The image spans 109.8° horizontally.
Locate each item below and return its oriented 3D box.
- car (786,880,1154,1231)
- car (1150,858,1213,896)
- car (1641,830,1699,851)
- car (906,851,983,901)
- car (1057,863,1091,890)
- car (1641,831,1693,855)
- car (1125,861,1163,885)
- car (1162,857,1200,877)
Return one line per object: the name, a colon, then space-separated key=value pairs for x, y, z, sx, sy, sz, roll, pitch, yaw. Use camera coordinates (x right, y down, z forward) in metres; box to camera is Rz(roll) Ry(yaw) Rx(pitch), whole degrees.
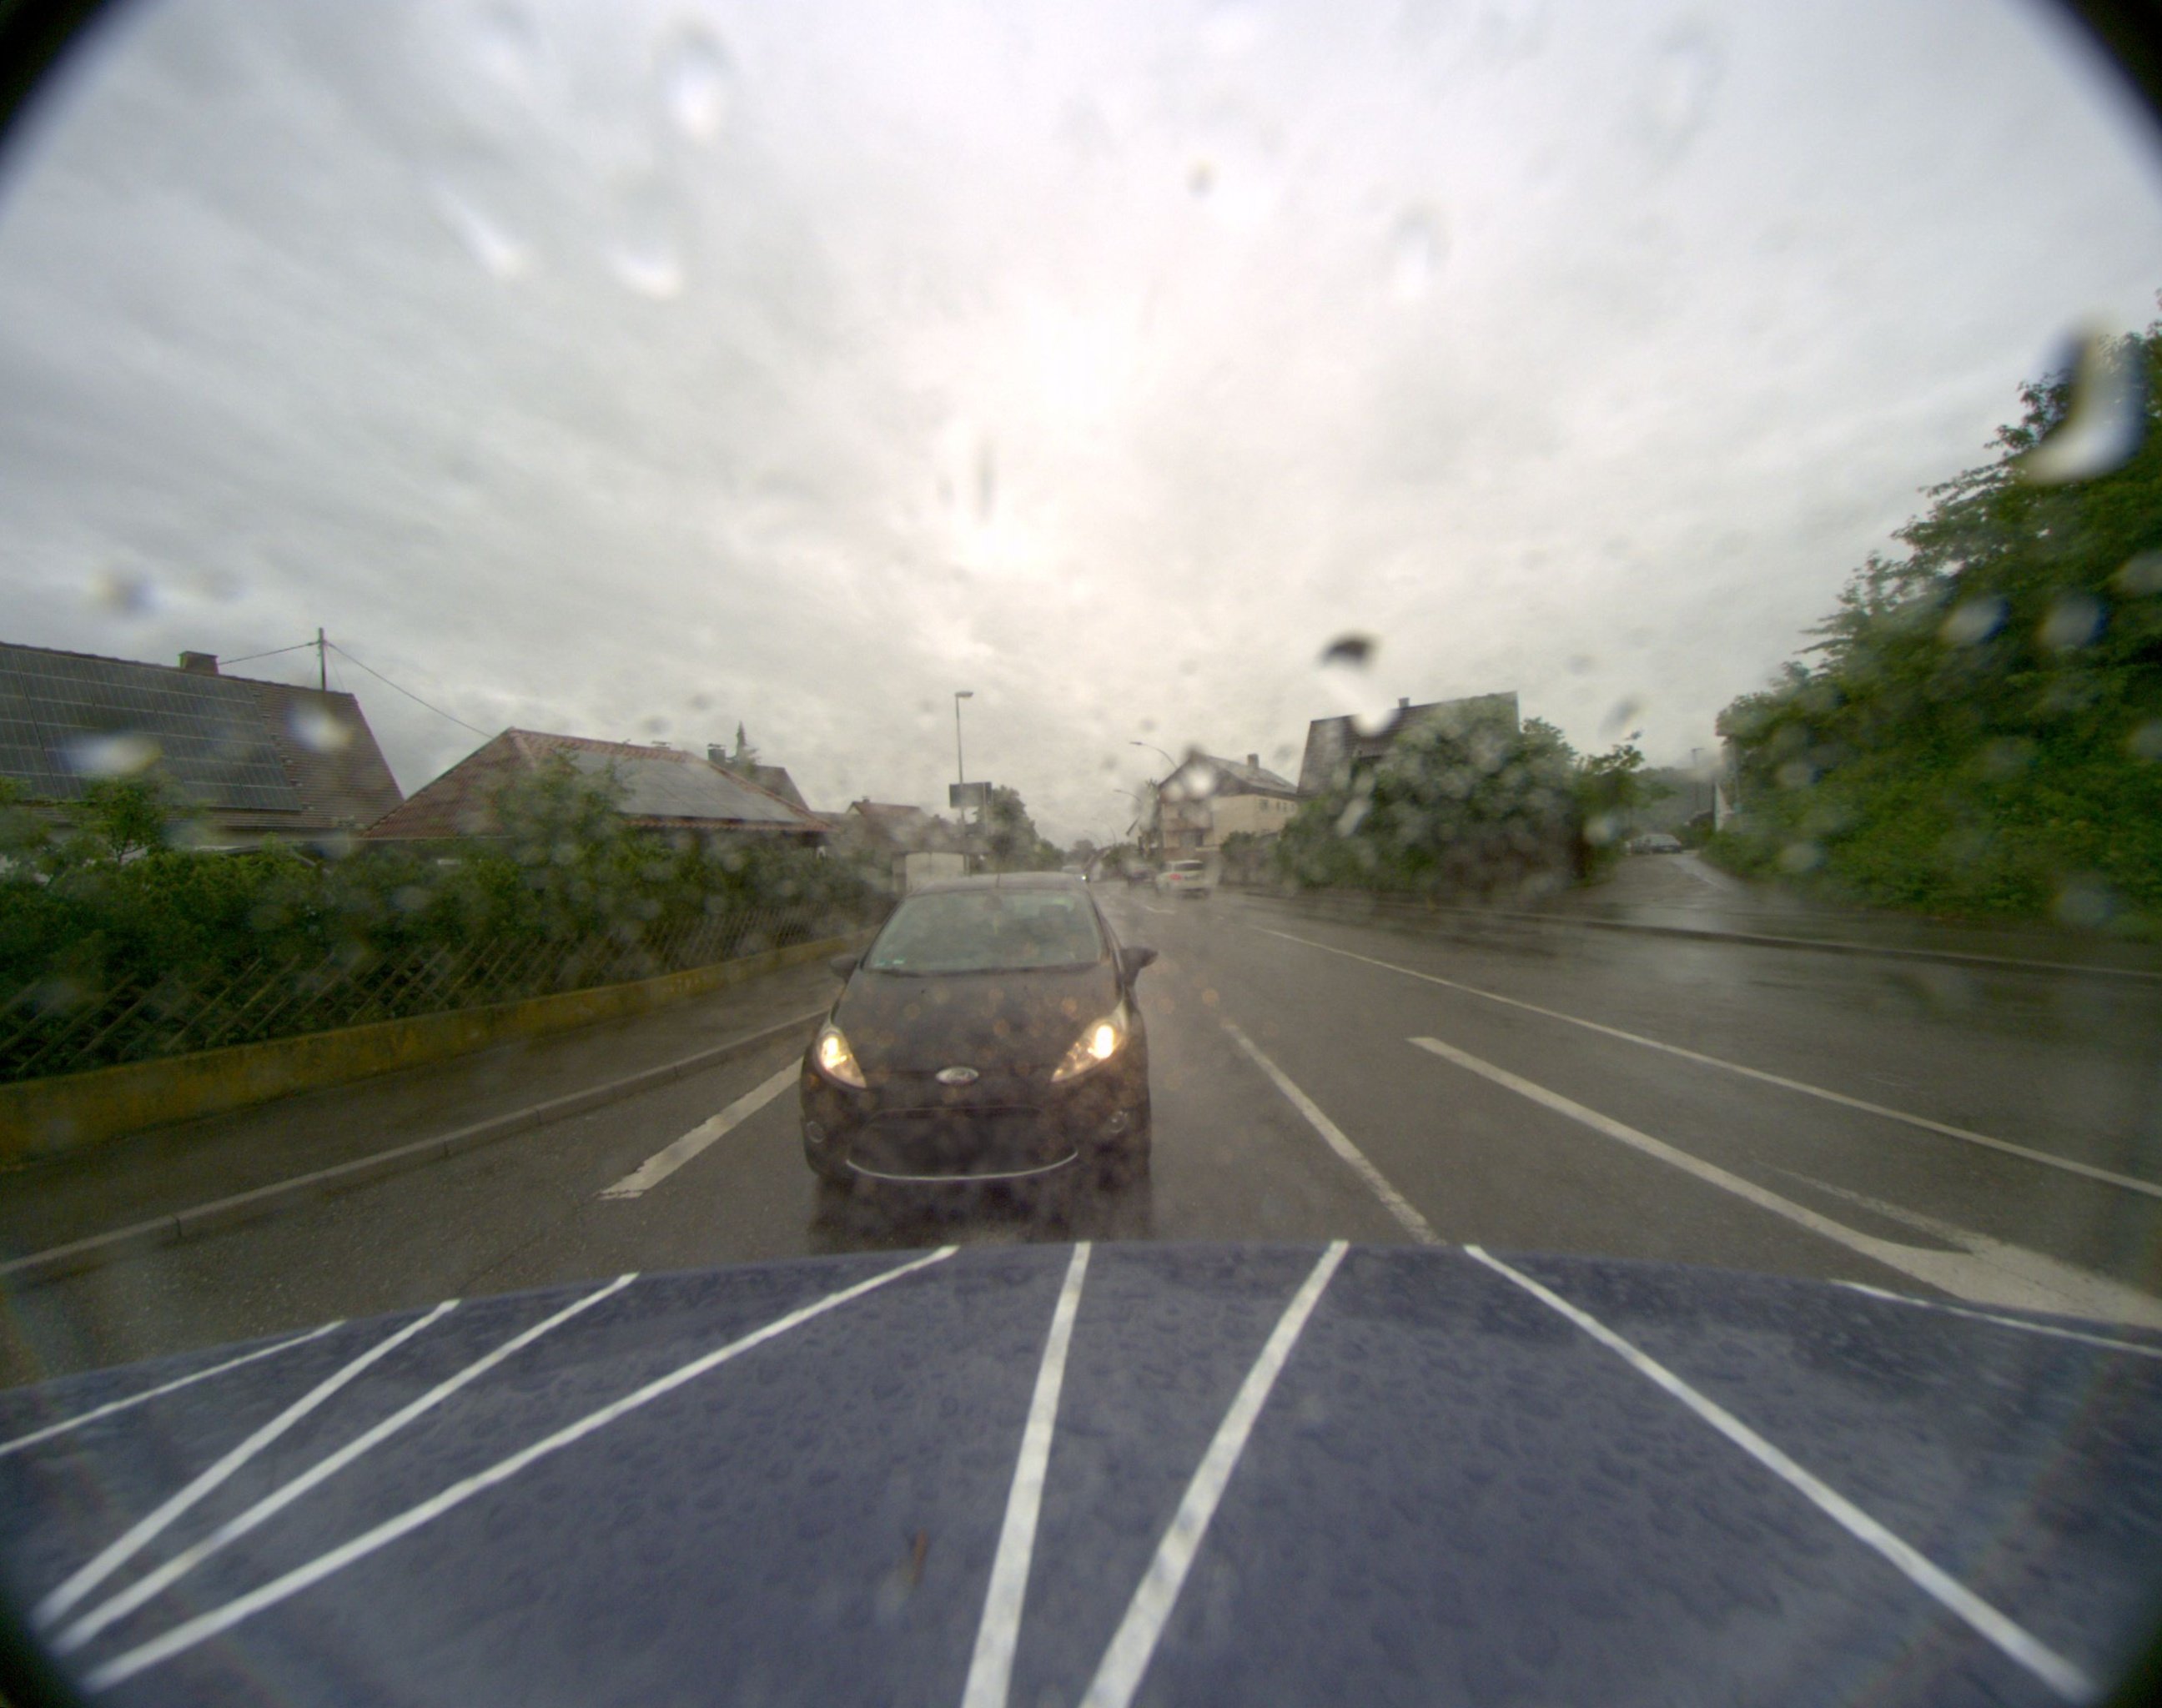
car: x=-0.562 y=1.010 z=5.535 sx=1.666 sy=1.410 sz=3.931 roll=-2 pitch=1 yaw=-1
car: x=4.349 y=0.949 z=33.473 sx=1.669 sy=1.496 sz=4.319 roll=-3 pitch=0 yaw=-6
car: x=45.574 y=-1.016 z=58.891 sx=1.997 sy=1.477 sz=4.004 roll=-3 pitch=0 yaw=13
car: x=-6.885 y=1.062 z=38.667 sx=1.650 sy=2.337 sz=4.007 roll=-2 pitch=0 yaw=27
car: x=-0.480 y=1.356 z=46.586 sx=1.899 sy=1.474 sz=3.999 roll=-2 pitch=0 yaw=-3
car: x=40.775 y=-0.755 z=52.952 sx=1.895 sy=1.474 sz=4.007 roll=-2 pitch=0 yaw=24
car: x=4.077 y=1.196 z=50.046 sx=1.670 sy=1.430 sz=4.105 roll=0 pitch=0 yaw=-8
car: x=8.821 y=1.099 z=66.908 sx=1.661 sy=1.538 sz=4.007 roll=-2 pitch=1 yaw=34
